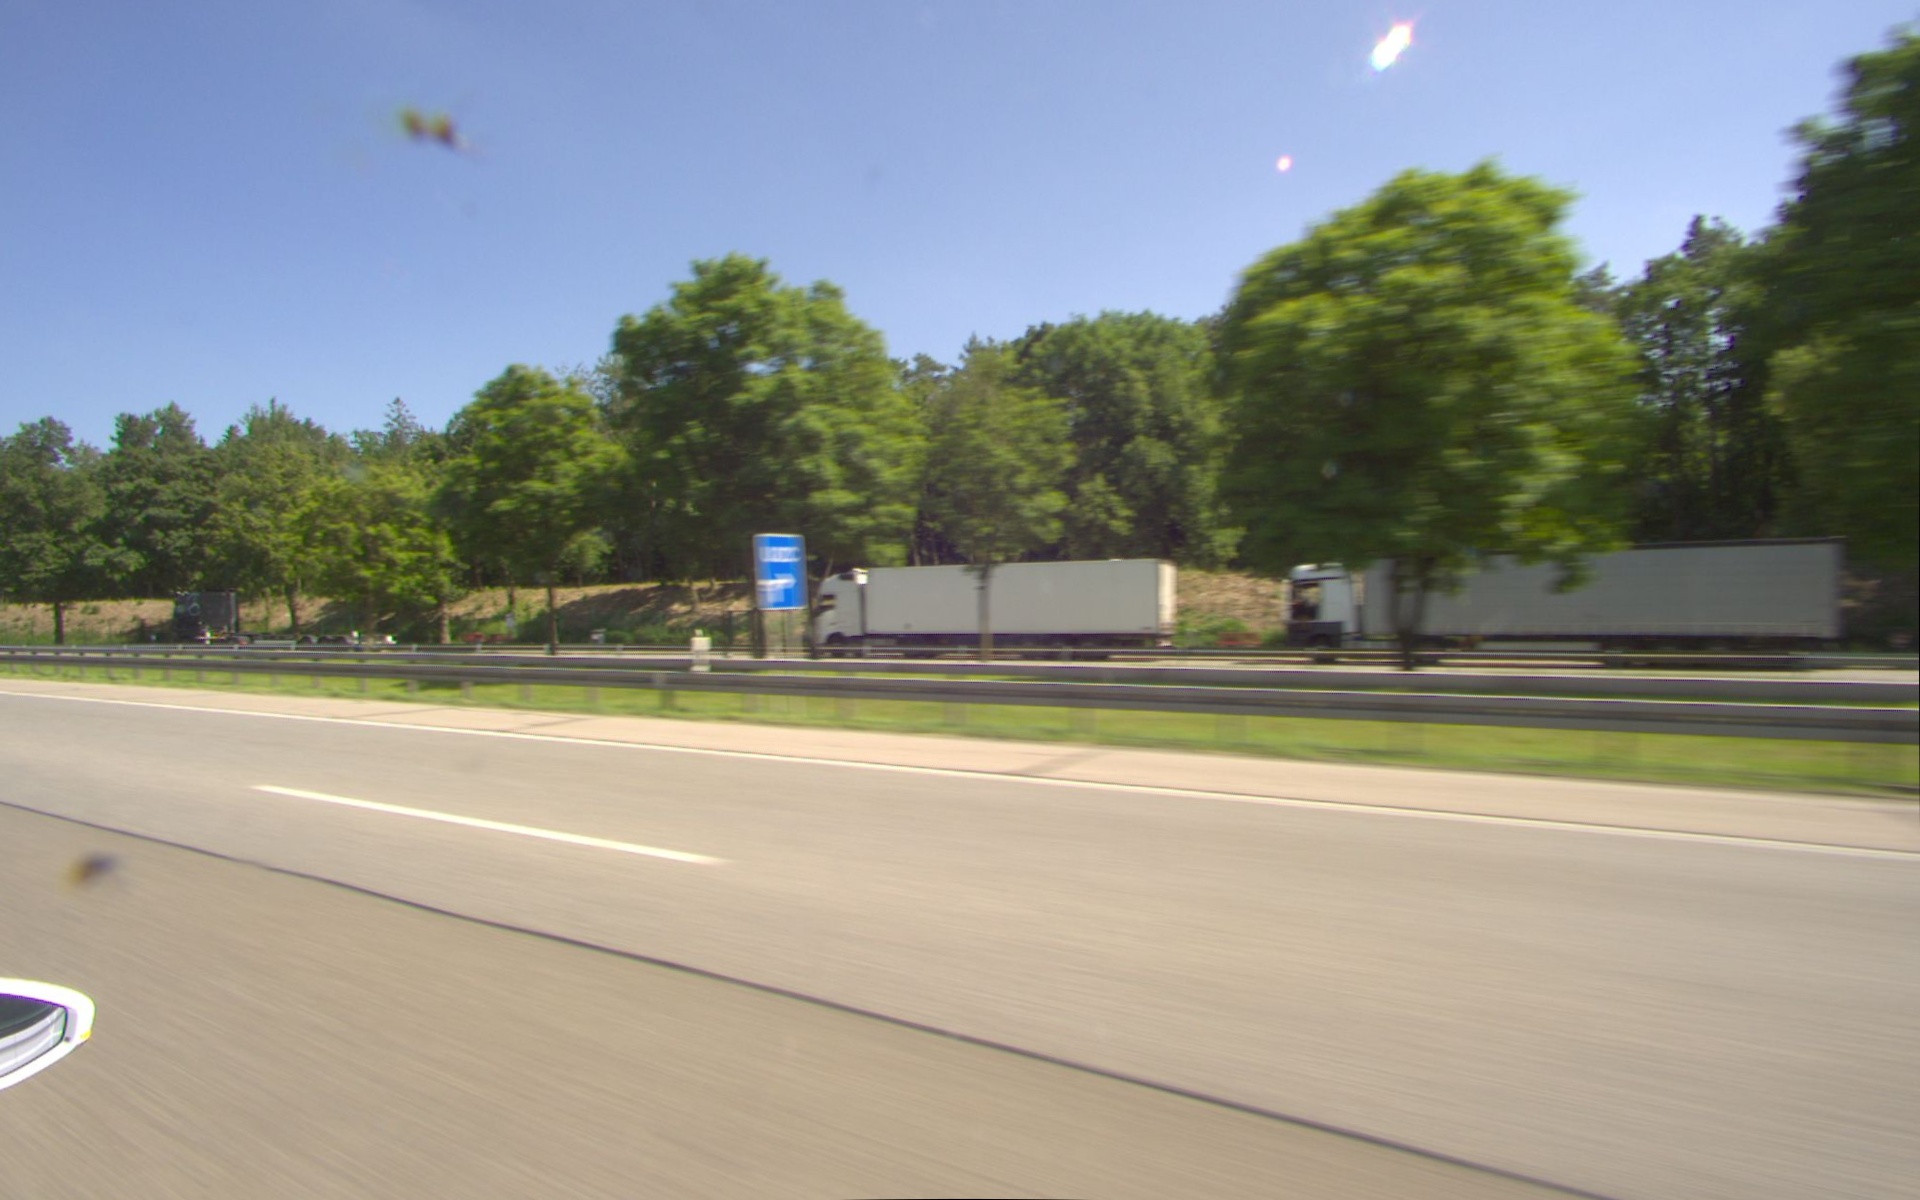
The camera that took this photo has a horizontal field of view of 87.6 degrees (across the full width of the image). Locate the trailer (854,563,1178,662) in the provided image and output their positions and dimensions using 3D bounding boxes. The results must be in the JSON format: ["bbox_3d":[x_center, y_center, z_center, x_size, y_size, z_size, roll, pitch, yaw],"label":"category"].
[{"bbox_3d":[2.164,0.596,43.383,13.958,3.846,2.858,-1,-1,25],"label":"trailer"}]

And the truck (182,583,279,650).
[{"bbox_3d":[-44.810,1.031,61.533,4.780,3.966,2.576,-1,0,19],"label":"truck"}]

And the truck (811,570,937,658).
[{"bbox_3d":[-3.947,0.661,46.232,5.061,3.846,2.809,-1,0,25],"label":"truck"}]

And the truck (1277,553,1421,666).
[{"bbox_3d":[14.640,0.370,37.675,4.758,3.983,2.968,-1,0,28],"label":"truck"}]

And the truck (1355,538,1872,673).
[{"bbox_3d":[21.260,0.279,34.189,14.234,3.982,2.994,-1,0,28],"label":"truck"}]

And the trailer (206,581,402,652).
[{"bbox_3d":[-39.097,1.016,59.558,12.523,3.966,2.575,-1,0,19],"label":"trailer"}]
